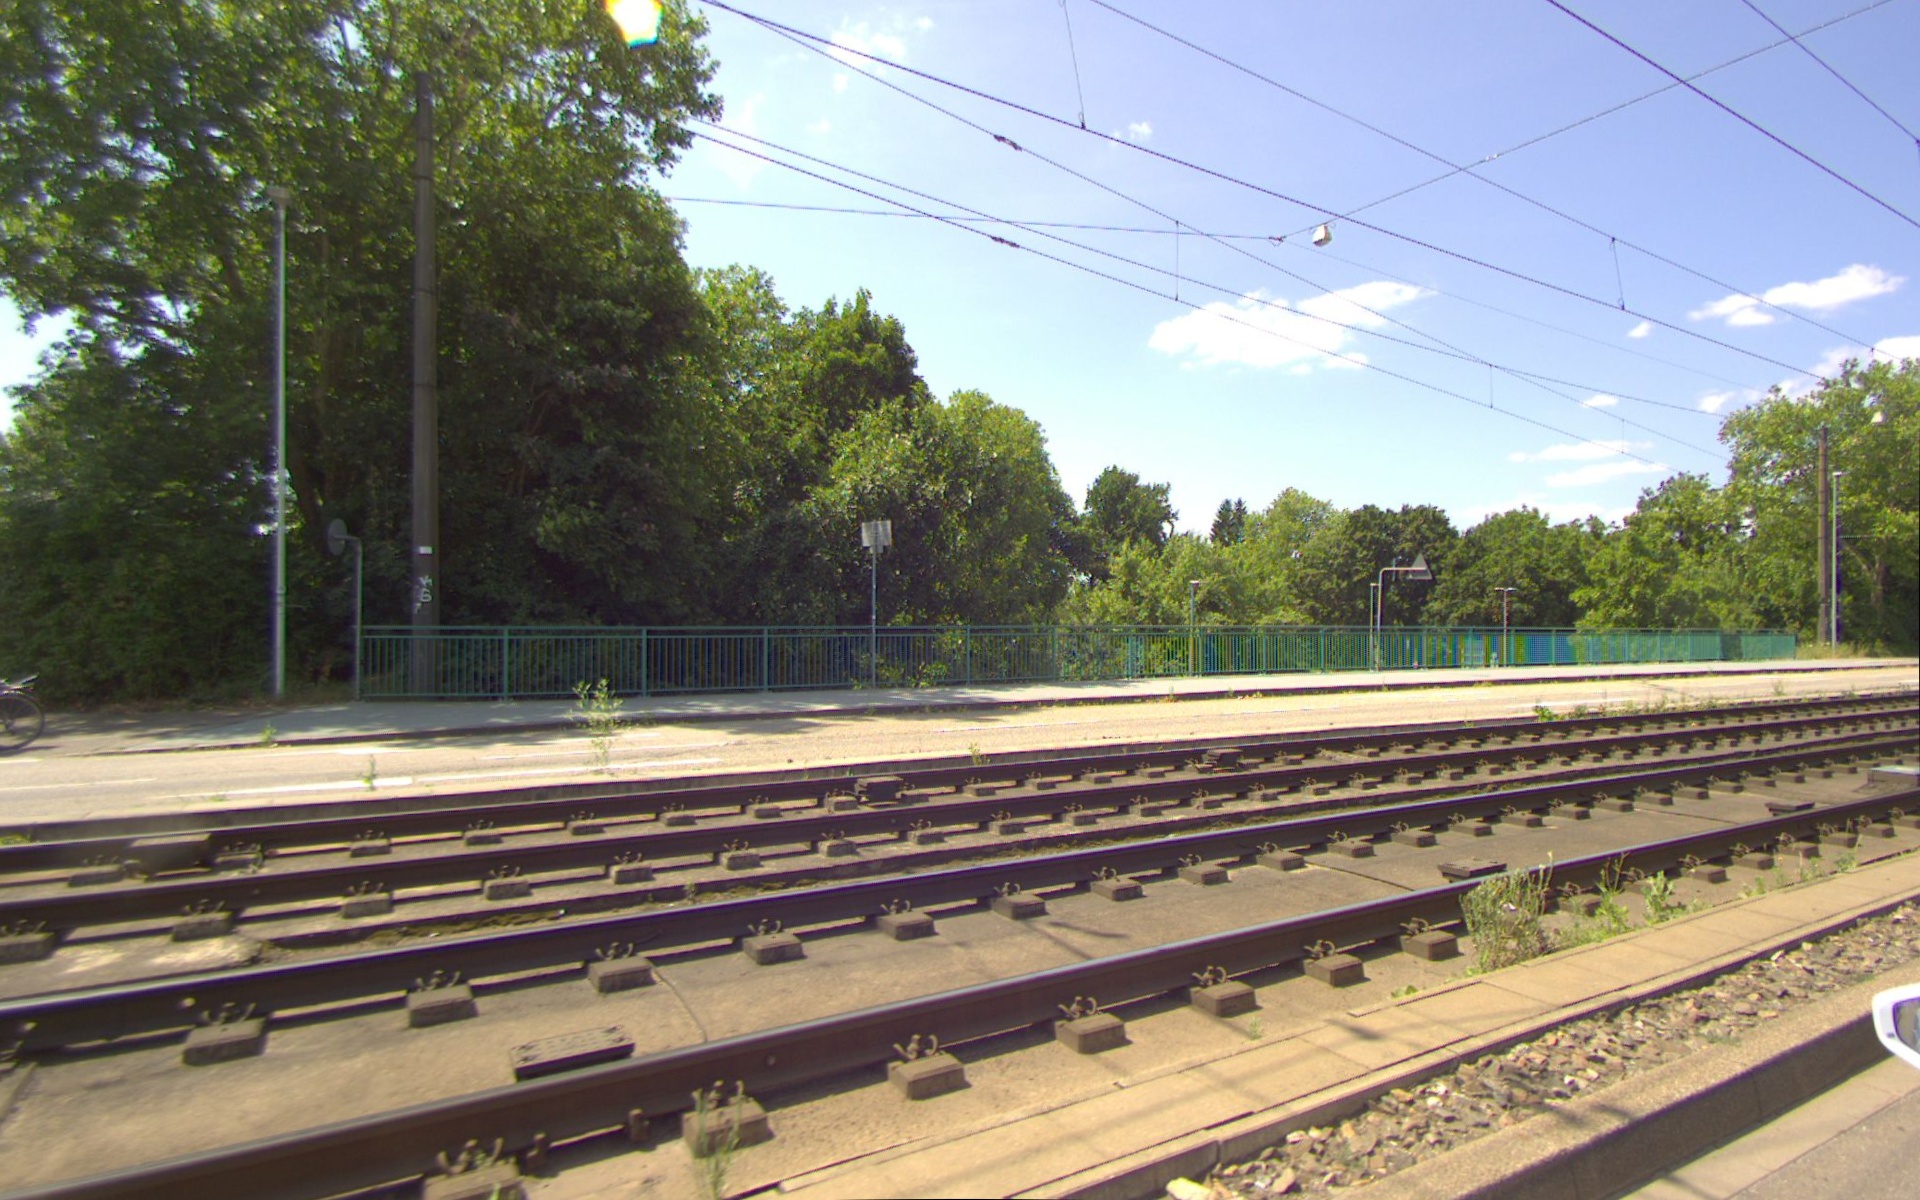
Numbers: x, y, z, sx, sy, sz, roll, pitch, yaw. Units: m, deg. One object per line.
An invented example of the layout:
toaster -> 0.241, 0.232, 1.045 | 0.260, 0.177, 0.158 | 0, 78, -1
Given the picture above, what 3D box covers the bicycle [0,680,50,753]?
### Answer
bicycle -> -12.552, 1.457, 12.502 | 1.721, 0.880, 0.467 | 2, -1, -28
